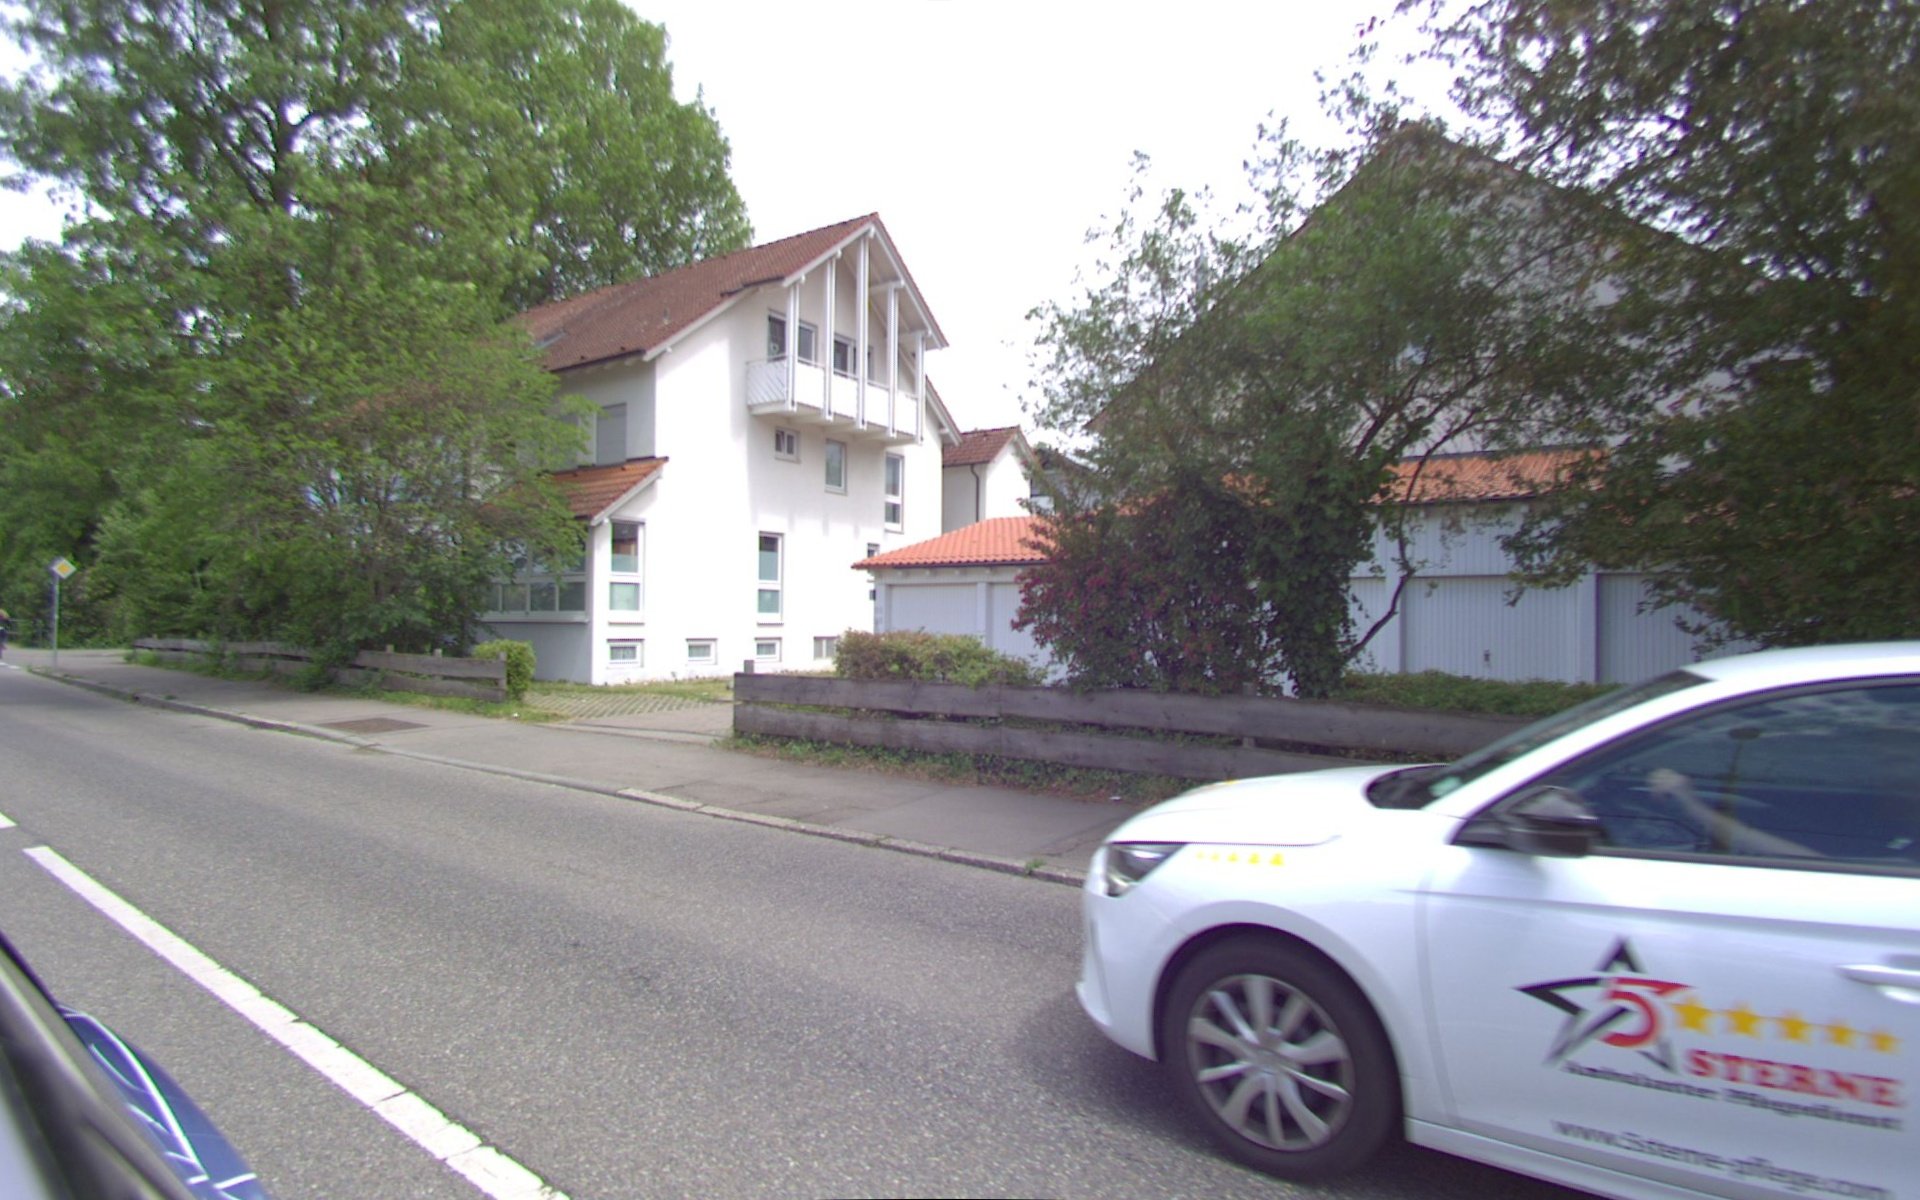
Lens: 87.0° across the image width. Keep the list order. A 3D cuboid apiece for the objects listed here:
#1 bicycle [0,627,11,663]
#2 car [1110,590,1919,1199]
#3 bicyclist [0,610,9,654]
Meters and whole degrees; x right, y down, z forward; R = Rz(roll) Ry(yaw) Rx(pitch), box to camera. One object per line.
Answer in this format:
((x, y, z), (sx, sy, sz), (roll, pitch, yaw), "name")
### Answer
((-34.373, 1.585, 35.892), (2.306, 1.236, 0.747), (-1, -3, 40), "bicycle")
((2.436, 0.740, 2.412), (3.780, 1.441, 1.678), (-1, -3, 37), "car")
((-34.466, 1.132, 36.030), (0.869, 1.561, 0.770), (-1, -2, 40), "bicyclist")
